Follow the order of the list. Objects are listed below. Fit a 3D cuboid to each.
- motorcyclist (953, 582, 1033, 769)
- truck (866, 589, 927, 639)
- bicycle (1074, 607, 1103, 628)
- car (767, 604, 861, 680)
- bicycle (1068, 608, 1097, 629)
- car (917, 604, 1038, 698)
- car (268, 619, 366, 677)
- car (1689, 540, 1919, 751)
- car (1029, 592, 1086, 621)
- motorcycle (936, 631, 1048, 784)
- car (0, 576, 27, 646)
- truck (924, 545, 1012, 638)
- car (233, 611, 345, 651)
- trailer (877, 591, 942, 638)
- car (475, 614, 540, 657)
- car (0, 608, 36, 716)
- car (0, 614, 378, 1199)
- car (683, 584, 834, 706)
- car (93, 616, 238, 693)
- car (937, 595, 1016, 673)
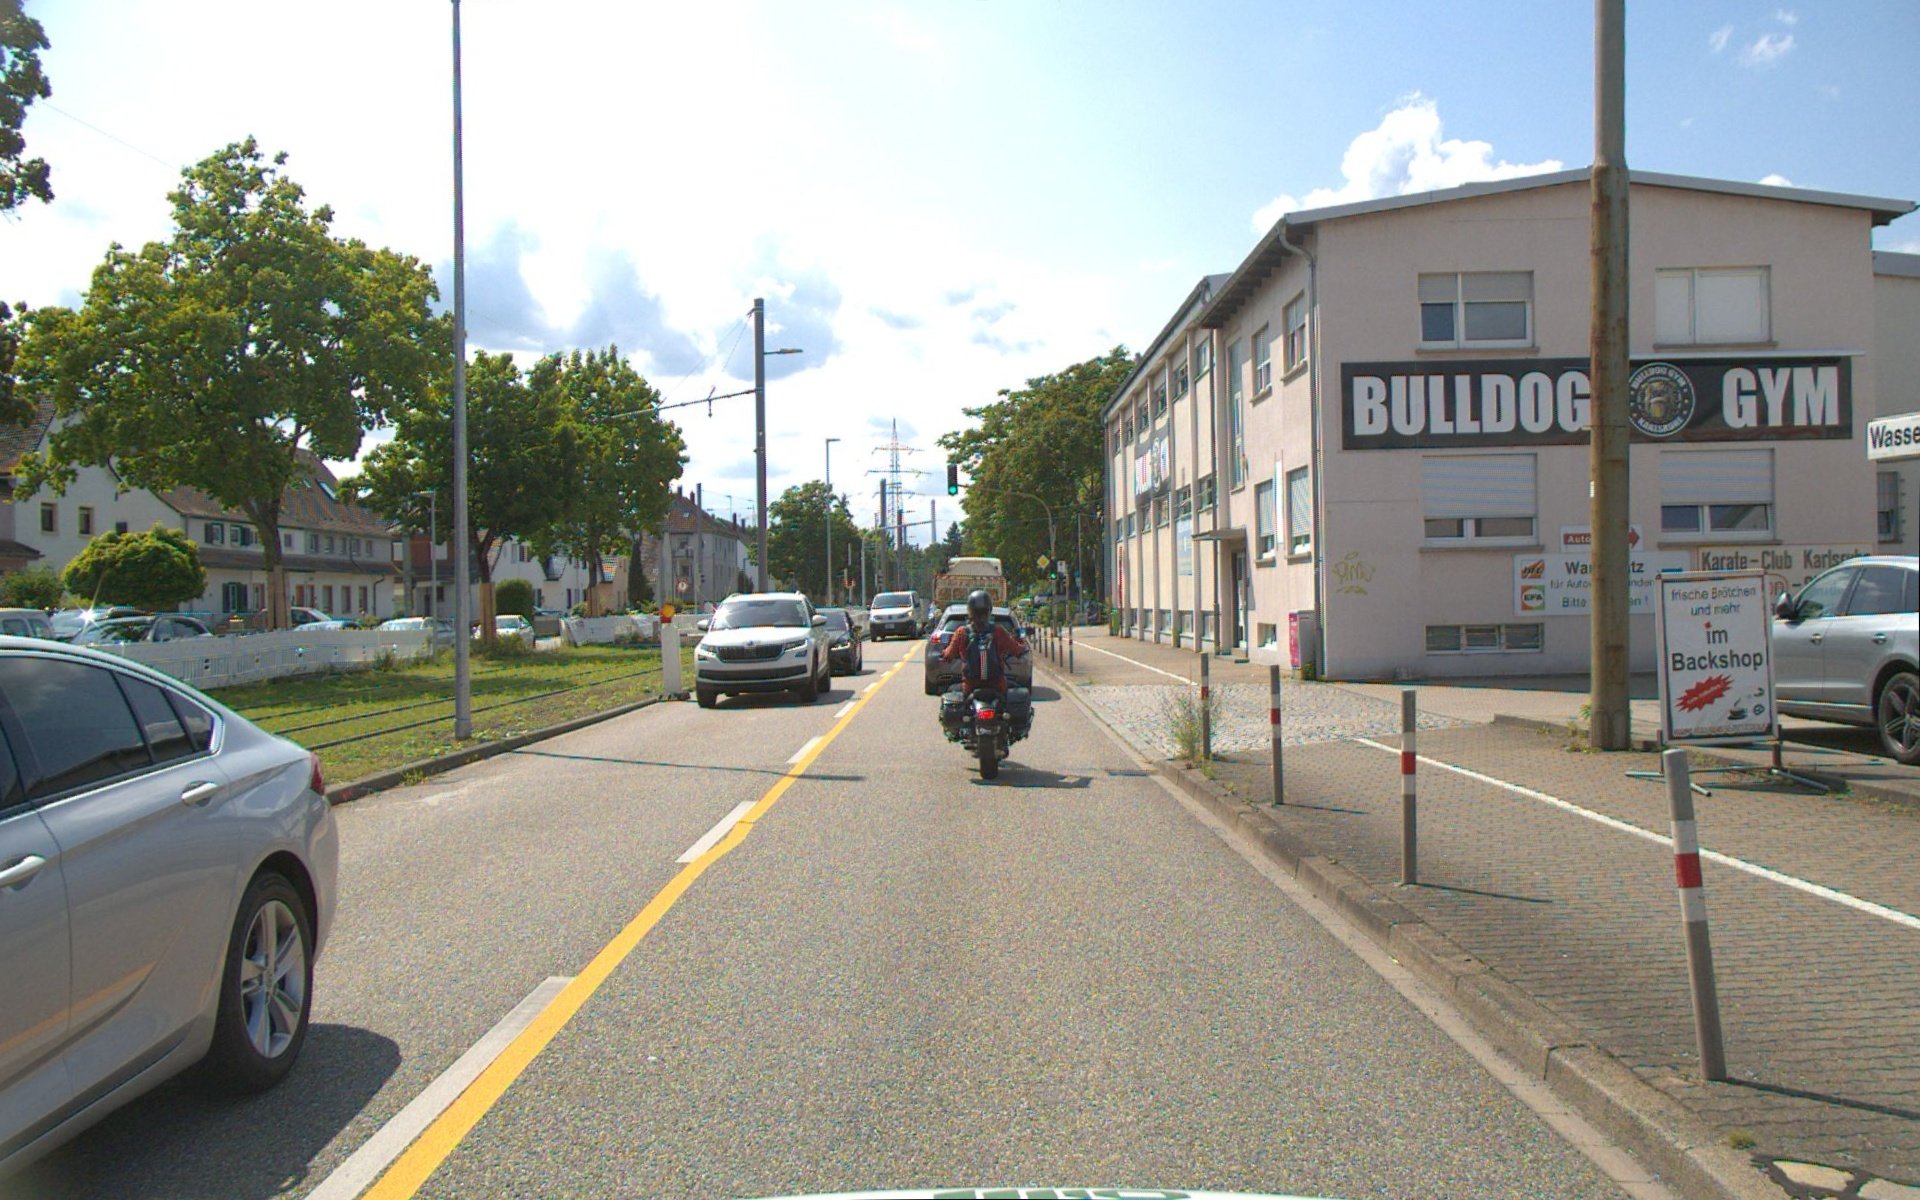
[{"bbox_3d":[0.287,0.665,14.850,0.684,1.632,0.692,1,-1,0],"label":"motorcyclist"},{"bbox_3d":[-2.552,0.562,67.878,1.781,1.943,5.120,1,0,6],"label":"truck"},{"bbox_3d":[7.319,1.014,94.156,1.671,1.192,0.438,1,-1,5],"label":"bicycle"},{"bbox_3d":[-3.146,0.899,36.299,1.658,1.437,3.858,-5,-1,-1],"label":"car"},{"bbox_3d":[7.050,1.058,95.168,1.671,1.192,0.438,1,-1,5],"label":"bicycle"},{"bbox_3d":[0.225,0.807,27.934,1.697,1.428,4.083,1,0,-4],"label":"car"},{"bbox_3d":[-16.053,1.171,41.417,1.313,1.348,3.169,-1,0,-2],"label":"car"},{"bbox_3d":[8.445,0.366,14.617,1.906,1.653,4.614,0,0,-1],"label":"car"},{"bbox_3d":[6.783,0.479,114.379,3.970,1.959,1.773,1,-1,-45],"label":"car"},{"bbox_3d":[0.274,0.923,15.080,0.923,1.221,2.472,1,0,0],"label":"motorcycle"},{"bbox_3d":[-29.015,0.297,47.653,1.953,2.049,3.999,1,-1,-1],"label":"car"},{"bbox_3d":[0.401,-0.248,61.954,2.905,3.229,7.766,1,-1,3],"label":"truck"},{"bbox_3d":[-27.851,1.272,68.696,3.905,1.536,1.725,-1,0,-1],"label":"car"},{"bbox_3d":[-2.163,0.615,72.248,2.019,1.867,5.489,-3,-1,6],"label":"trailer"},{"bbox_3d":[-16.450,1.253,60.290,1.511,1.400,4.247,-3,0,-5],"label":"car"},{"bbox_3d":[-15.778,0.984,24.822,1.589,1.680,3.899,-2,-1,0],"label":"car"},{"bbox_3d":[-2.952,0.801,3.623,1.784,1.470,4.482,-2,-1,-1],"label":"car"},{"bbox_3d":[-3.070,0.678,26.054,1.787,1.695,4.461,-2,-1,0],"label":"car"},{"bbox_3d":[-15.593,1.038,32.613,1.322,1.401,3.114,-2,-1,0],"label":"car"},{"bbox_3d":[0.462,0.814,42.117,1.862,1.742,4.720,-1,1,1],"label":"car"}]
